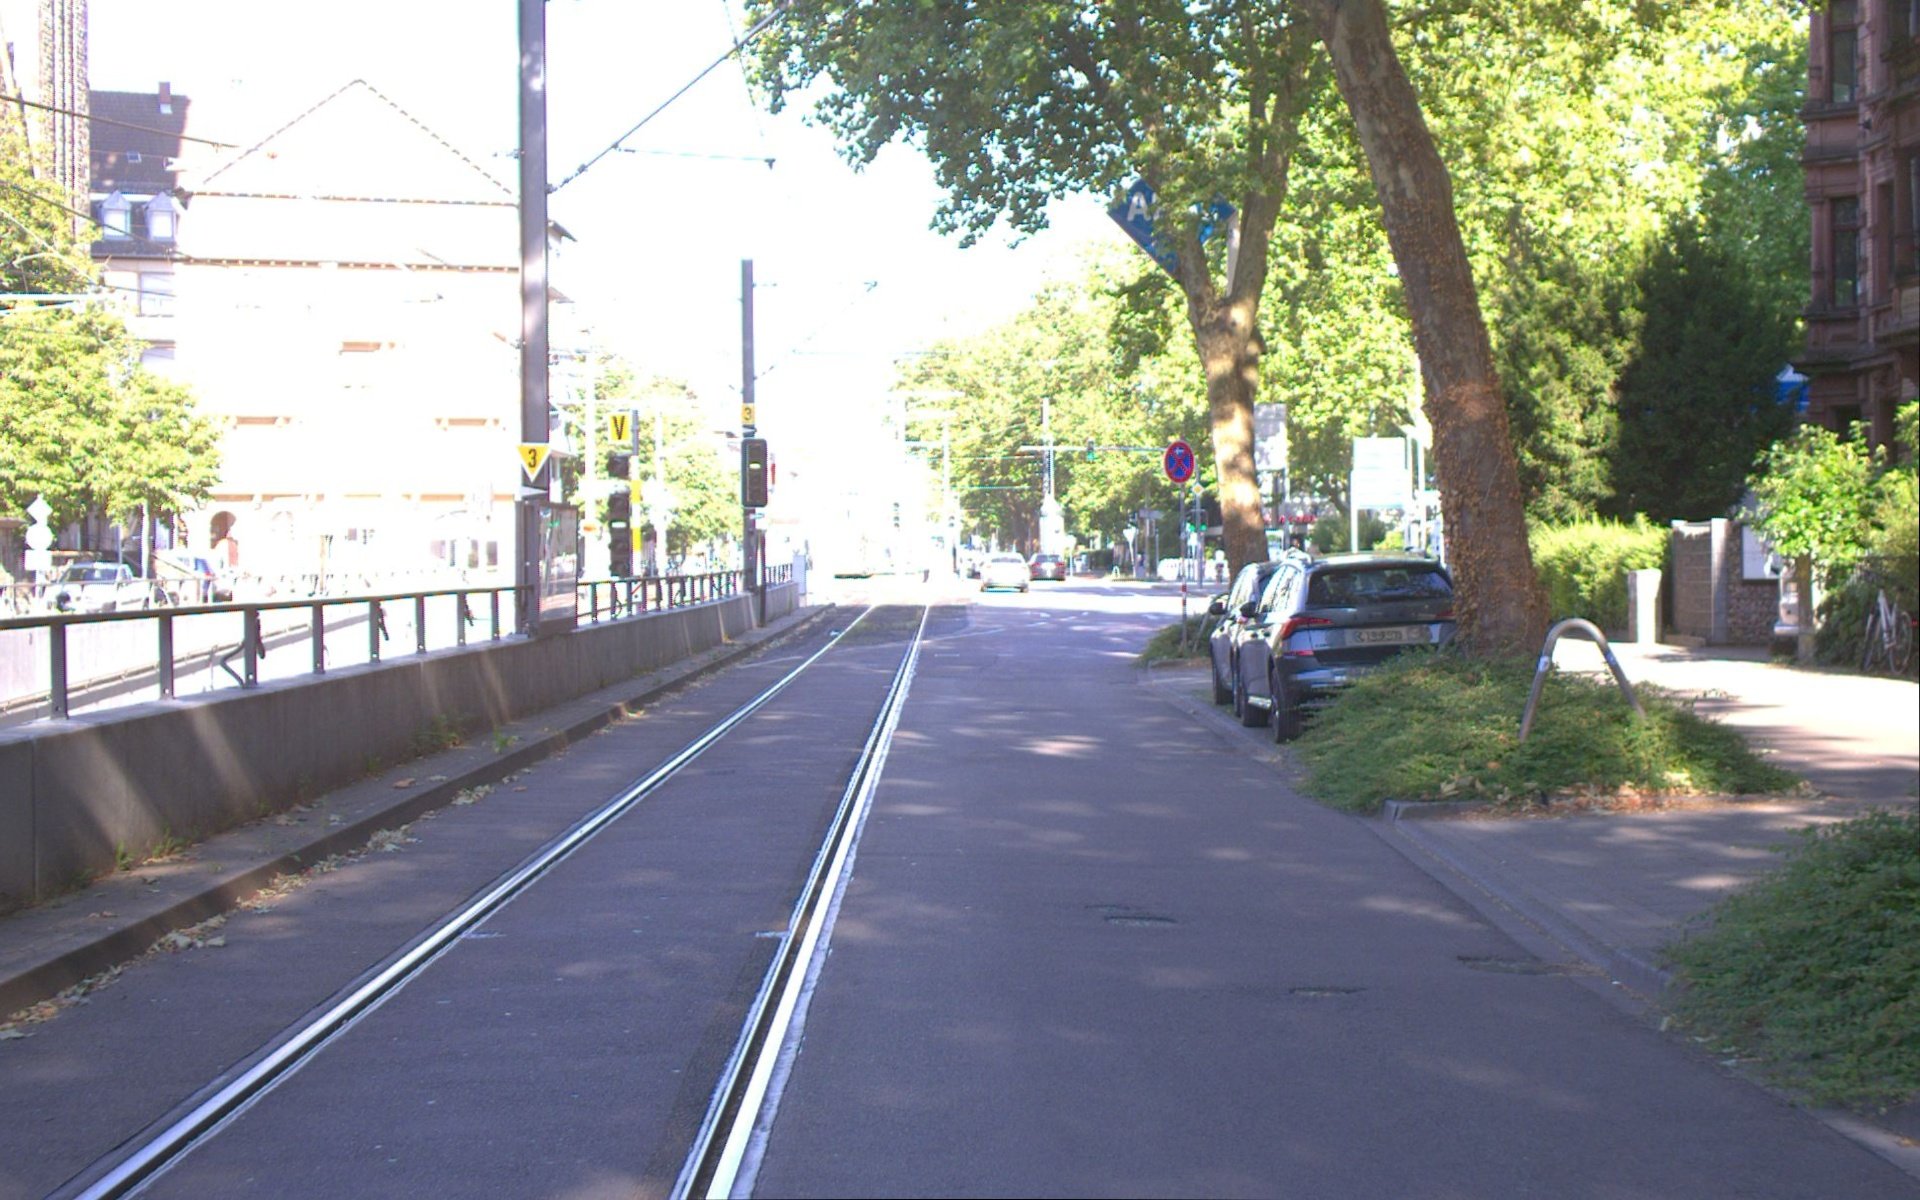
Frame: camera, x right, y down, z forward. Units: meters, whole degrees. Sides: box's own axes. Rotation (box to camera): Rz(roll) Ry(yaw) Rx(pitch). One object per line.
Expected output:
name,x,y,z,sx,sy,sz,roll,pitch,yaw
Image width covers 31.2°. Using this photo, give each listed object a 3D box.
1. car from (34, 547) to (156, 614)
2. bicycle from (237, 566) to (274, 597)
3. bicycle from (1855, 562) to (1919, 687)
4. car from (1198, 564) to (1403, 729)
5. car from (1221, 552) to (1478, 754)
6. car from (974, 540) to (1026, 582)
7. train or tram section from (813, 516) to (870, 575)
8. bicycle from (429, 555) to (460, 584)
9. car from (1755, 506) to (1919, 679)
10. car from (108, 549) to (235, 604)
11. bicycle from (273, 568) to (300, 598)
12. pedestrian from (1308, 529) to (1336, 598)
car,-21.579,-0.508,85.905,1.716,1.550,4.510,2,1,2
bicycle,-31.745,-0.840,154.851,0.821,1.278,2.565,2,1,-31
bicycle,9.573,0.235,35.382,0.337,1.245,1.766,2,1,4
car,3.288,0.411,33.823,1.551,1.494,4.050,-1,1,-1
car,3.270,0.402,29.564,1.616,1.582,4.417,-1,1,-1
car,1.471,-1.459,127.342,1.745,1.457,3.644,2,1,-1
train or tram section,-7.226,-3.330,210.657,2.952,3.398,10.791,2,1,0
bicycle,-21.044,-1.267,140.481,0.631,1.140,2.278,-2,1,7
car,12.189,-0.146,41.719,4.572,2.007,1.914,-2,0,0
car,-27.920,-0.836,121.785,3.987,1.750,1.894,2,1,3
bicycle,-30.414,-0.789,155.176,0.821,1.278,2.566,2,1,-19
pedestrian,9.521,-0.957,90.521,0.603,1.770,0.690,-3,0,4
